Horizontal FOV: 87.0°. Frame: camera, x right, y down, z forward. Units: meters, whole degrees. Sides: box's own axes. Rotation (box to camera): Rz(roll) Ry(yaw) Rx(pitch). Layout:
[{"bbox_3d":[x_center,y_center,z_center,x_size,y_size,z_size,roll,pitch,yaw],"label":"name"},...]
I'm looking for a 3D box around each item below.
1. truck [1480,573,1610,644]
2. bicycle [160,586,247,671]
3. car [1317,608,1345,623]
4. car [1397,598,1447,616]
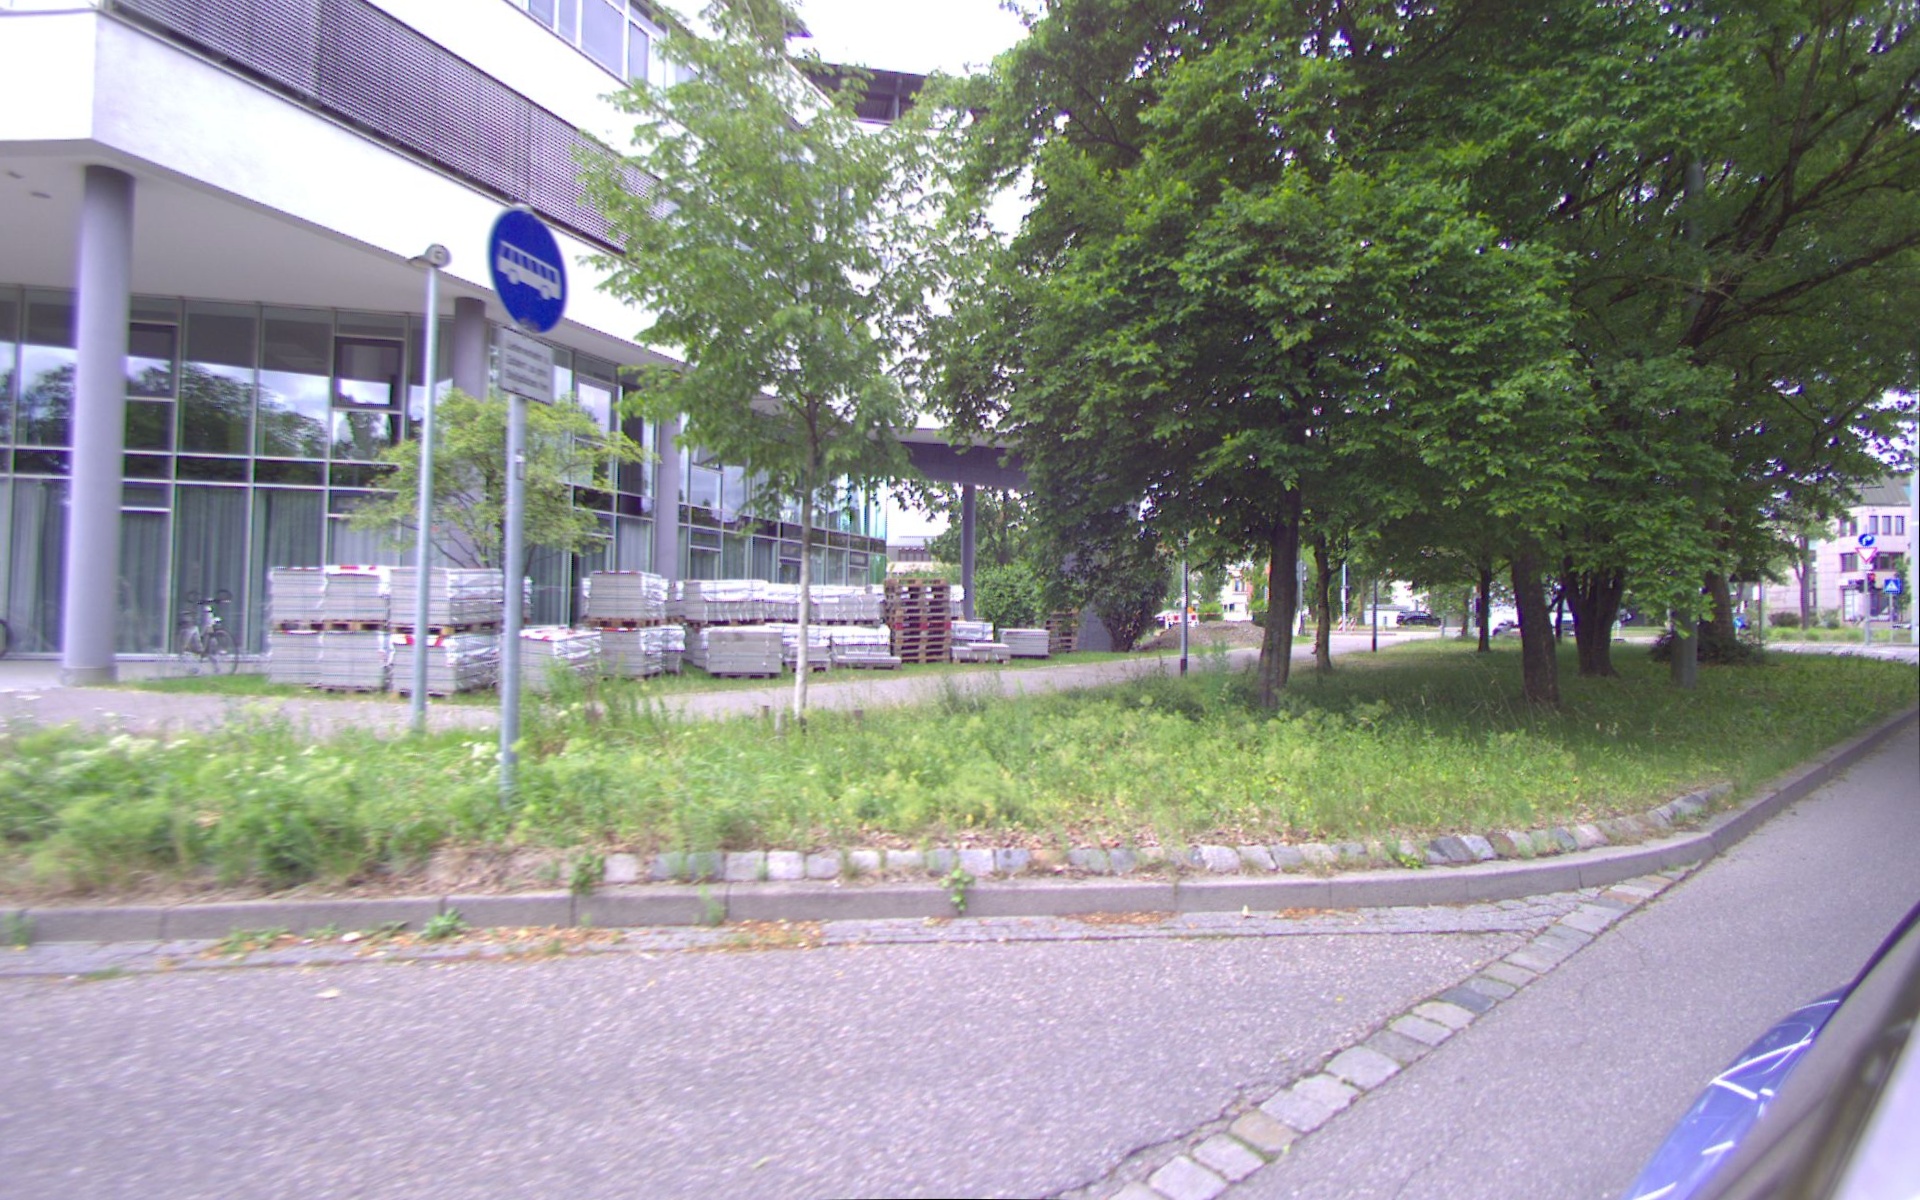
[{"bbox_3d":[28.299,0.381,49.274,2.390,3.235,6.469,0,0,-2],"label":"truck"},{"bbox_3d":[-10.879,0.398,14.536,1.727,1.162,0.485,-1,-1,35],"label":"bicycle"},{"bbox_3d":[43.963,1.878,120.017,1.842,1.661,3.825,-1,-3,0],"label":"car"},{"bbox_3d":[45.282,0.690,99.252,4.050,1.622,1.997,1,-3,3],"label":"car"}]
